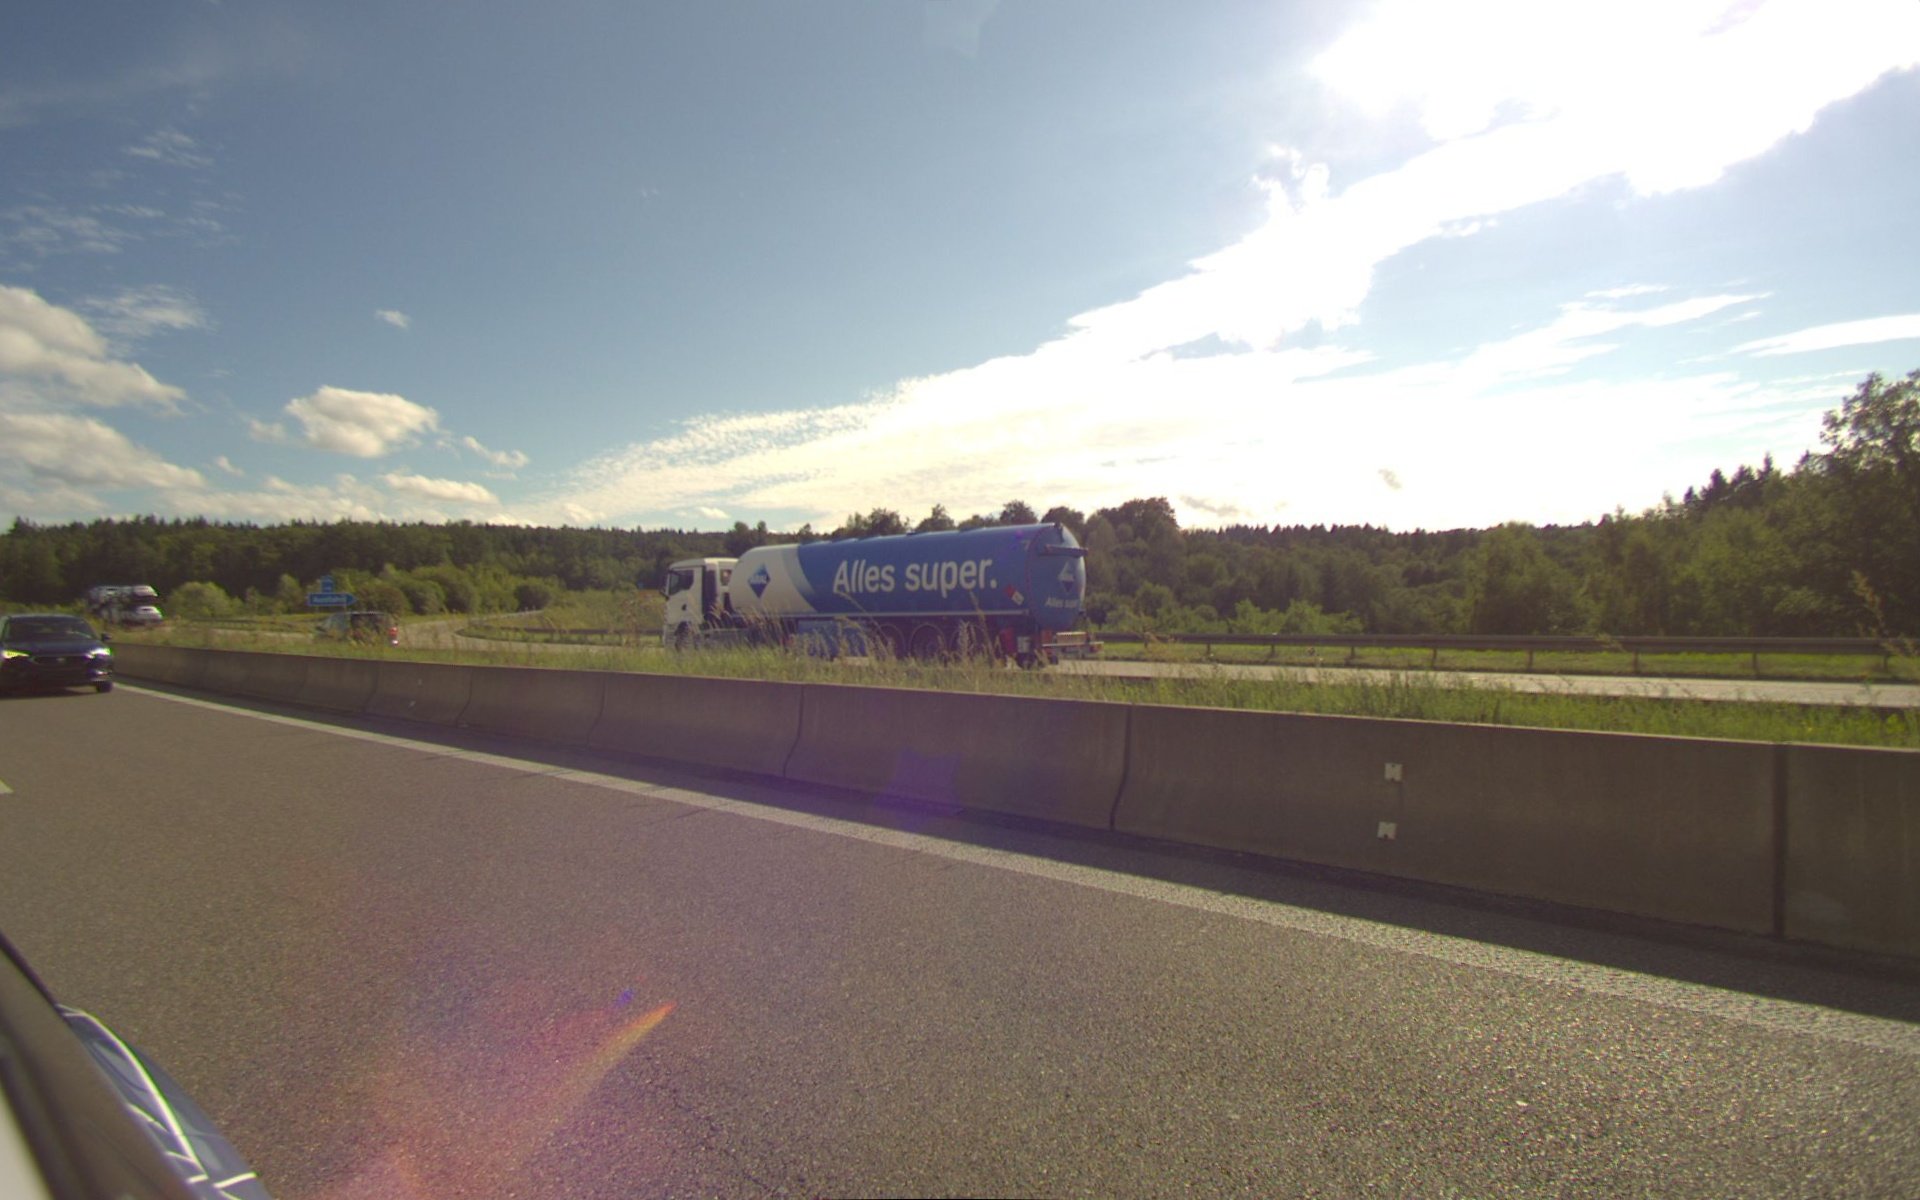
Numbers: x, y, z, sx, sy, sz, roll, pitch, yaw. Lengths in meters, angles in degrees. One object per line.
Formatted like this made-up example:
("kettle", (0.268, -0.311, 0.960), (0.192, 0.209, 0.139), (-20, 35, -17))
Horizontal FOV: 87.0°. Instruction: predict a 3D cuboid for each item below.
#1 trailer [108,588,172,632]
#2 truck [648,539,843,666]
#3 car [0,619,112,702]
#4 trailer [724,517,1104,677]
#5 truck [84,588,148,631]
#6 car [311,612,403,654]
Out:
("trailer", (-69.662, 0.853, 85.913), (8.950, 3.555, 2.769), (-1, -1, 41))
("truck", (-6.297, 0.111, 29.218), (6.100, 3.298, 2.294), (-1, -1, 40))
("car", (-19.290, 1.181, 21.197), (4.157, 1.554, 1.756), (-1, -1, 42))
("trailer", (-1.654, 0.010, 25.272), (10.868, 3.309, 2.298), (-1, -1, 40))
("truck", (-77.244, 0.909, 92.515), (11.127, 3.717, 2.802), (-1, -1, 41))
("car", (-21.249, 1.133, 35.614), (3.707, 1.291, 1.673), (-1, 2, 41))
